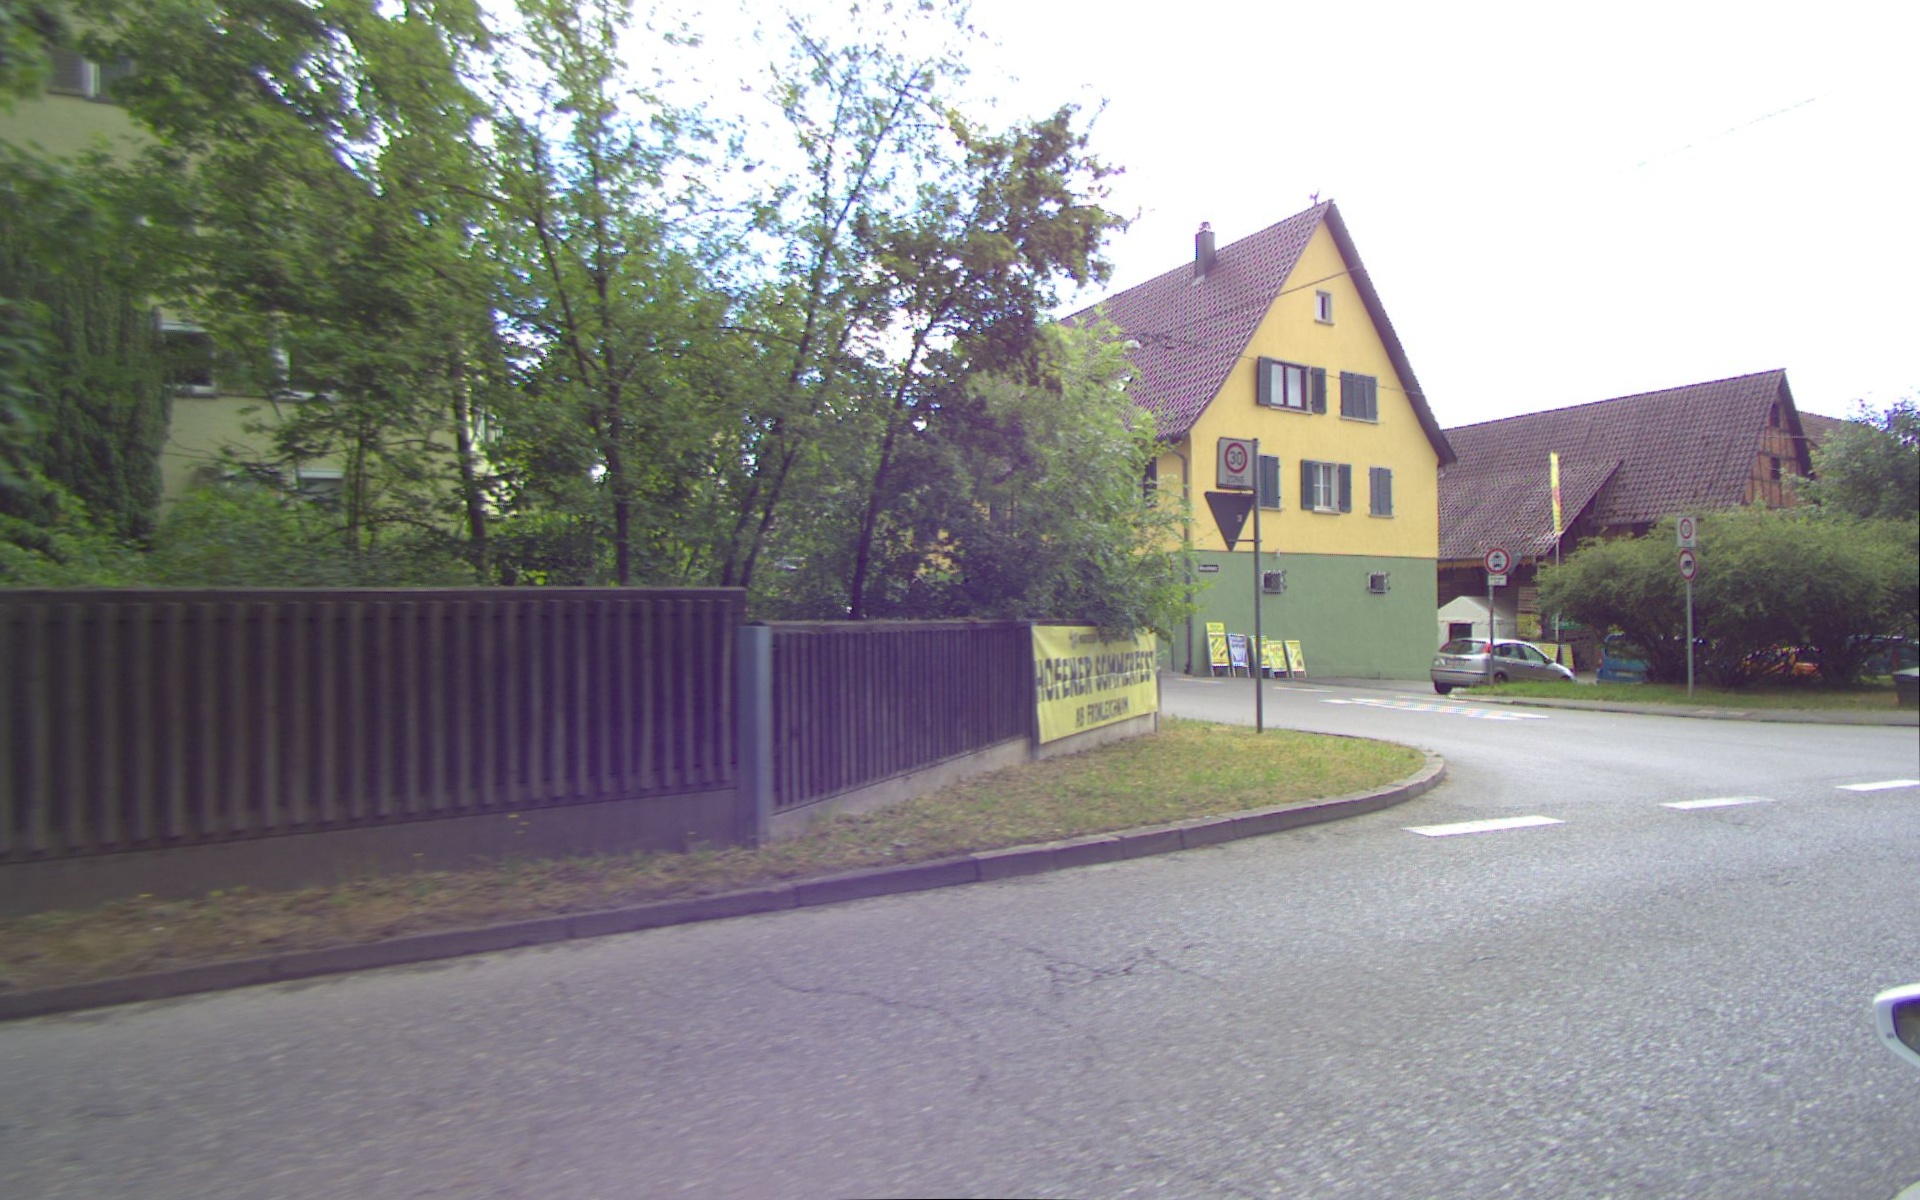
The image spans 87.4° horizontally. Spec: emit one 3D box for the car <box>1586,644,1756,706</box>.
[{"bbox_3d":[20.319,2.102,28.717,4.386,1.639,1.989,1,-3,-24],"label":"car"}]

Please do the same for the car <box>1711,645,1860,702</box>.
[{"bbox_3d":[25.519,2.229,31.065,3.943,1.639,1.944,1,-3,-23],"label":"car"}]

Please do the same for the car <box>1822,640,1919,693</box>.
[{"bbox_3d":[30.566,2.154,33.029,3.943,1.639,1.808,1,-3,-23],"label":"car"}]

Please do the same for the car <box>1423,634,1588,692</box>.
[{"bbox_3d":[13.941,1.586,25.648,4.098,1.362,1.640,1,-3,-27],"label":"car"}]
